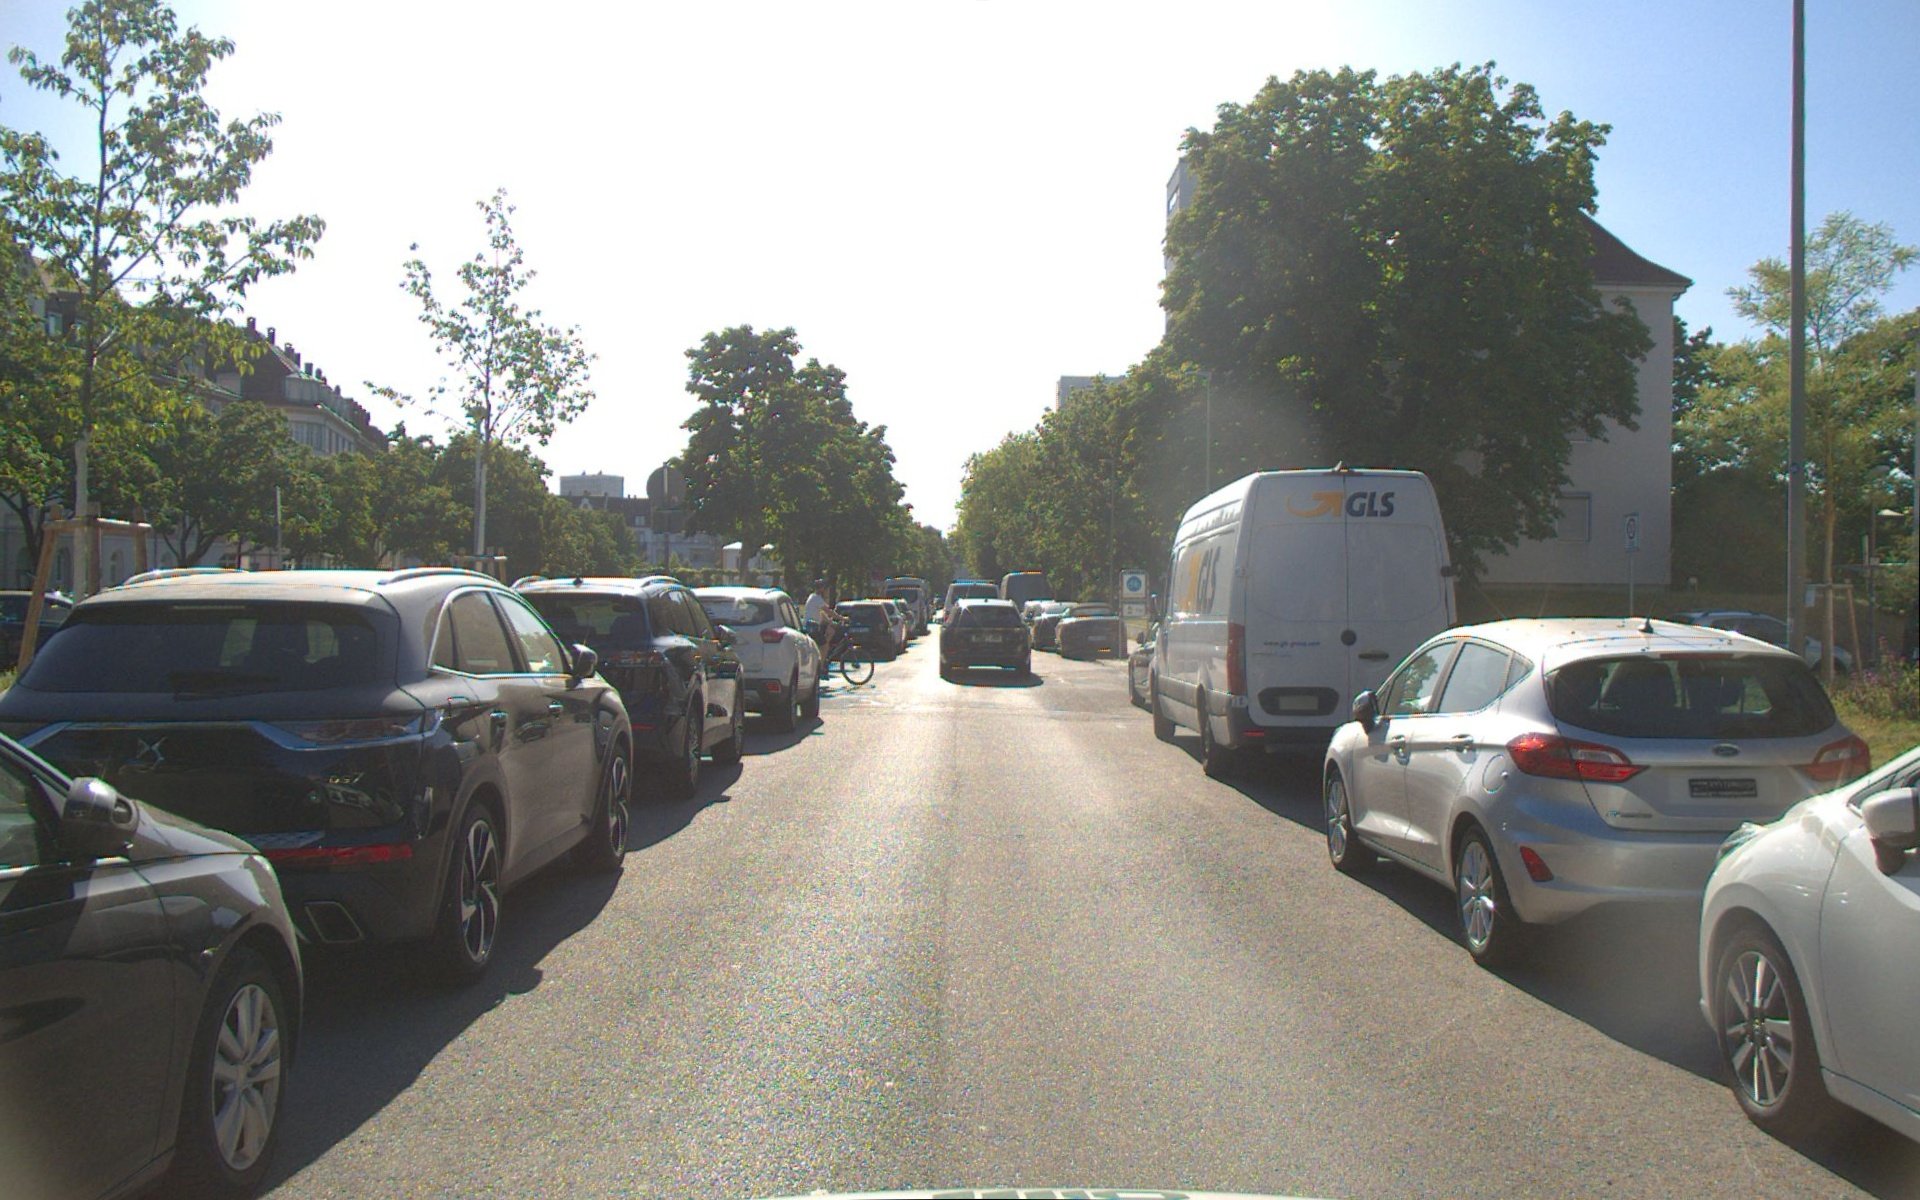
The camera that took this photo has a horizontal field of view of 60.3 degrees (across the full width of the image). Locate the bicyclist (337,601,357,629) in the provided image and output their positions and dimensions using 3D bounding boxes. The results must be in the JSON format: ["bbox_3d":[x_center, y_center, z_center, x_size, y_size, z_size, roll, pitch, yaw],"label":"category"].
[{"bbox_3d":[-32.535,0.777,87.746,0.723,1.463,0.942,0,-1,-1],"label":"bicyclist"}]

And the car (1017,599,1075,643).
[{"bbox_3d":[3.012,0.714,58.677,1.743,1.513,4.030,0,0,-1],"label":"car"}]

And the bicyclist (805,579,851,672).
[{"bbox_3d":[-2.331,0.440,29.253,0.773,1.624,0.696,0,0,-3],"label":"bicyclist"}]

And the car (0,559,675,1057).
[{"bbox_3d":[-2.685,0.697,7.934,1.782,1.638,4.738,-1,0,0],"label":"car"}]

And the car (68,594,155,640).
[{"bbox_3d":[-37.192,0.712,72.605,1.701,1.941,4.459,0,0,-3],"label":"car"}]

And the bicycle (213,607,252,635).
[{"bbox_3d":[-33.569,0.975,76.387,0.794,1.274,2.632,1,-1,-4],"label":"bicycle"}]

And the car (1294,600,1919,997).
[{"bbox_3d":[3.122,0.782,8.564,1.811,1.491,4.201,1,0,-2],"label":"car"}]

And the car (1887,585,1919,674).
[{"bbox_3d":[20.987,0.584,32.773,4.193,1.761,1.869,0,0,-1],"label":"car"}]

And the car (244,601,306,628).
[{"bbox_3d":[-37.482,0.784,90.629,1.808,1.465,3.774,0,0,0],"label":"car"}]

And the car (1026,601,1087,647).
[{"bbox_3d":[3.010,0.731,52.303,1.743,1.395,4.127,0,0,1],"label":"car"}]

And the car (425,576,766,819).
[{"bbox_3d":[-2.847,0.682,14.021,1.805,1.667,4.715,-1,0,0],"label":"car"}]

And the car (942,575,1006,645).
[{"bbox_3d":[0.452,0.295,51.230,1.855,2.026,4.011,-1,0,1],"label":"car"}]

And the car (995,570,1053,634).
[{"bbox_3d":[2.803,0.085,73.848,2.120,2.736,5.413,0,0,-3],"label":"car"}]

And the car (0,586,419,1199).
[{"bbox_3d":[-2.583,0.776,2.904,1.835,1.546,4.469,-2,0,-1],"label":"car"}]

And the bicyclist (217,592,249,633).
[{"bbox_3d":[-33.568,0.590,76.370,0.923,1.869,1.448,0,-1,-6],"label":"bicyclist"}]

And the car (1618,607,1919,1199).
[{"bbox_3d":[3.276,0.782,3.879,1.839,1.501,4.140,0,0,0],"label":"car"}]

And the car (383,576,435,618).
[{"bbox_3d":[-37.695,-0.189,113.365,1.877,2.792,5.622,0,0,-3],"label":"car"}]

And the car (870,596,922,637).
[{"bbox_3d":[-2.469,0.617,64.844,1.795,1.526,4.127,0,0,1],"label":"car"}]

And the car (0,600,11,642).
[{"bbox_3d":[-37.113,0.801,61.006,1.721,1.576,4.526,0,0,-3],"label":"car"}]

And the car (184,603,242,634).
[{"bbox_3d":[-37.263,0.912,82.577,1.352,1.465,3.342,0,0,1],"label":"car"}]

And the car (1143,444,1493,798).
[{"bbox_3d":[3.218,0.160,16.535,2.098,2.760,6.842,-1,0,1],"label":"car"}]

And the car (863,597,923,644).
[{"bbox_3d":[-2.205,0.646,55.047,1.743,1.487,4.127,0,0,1],"label":"car"}]

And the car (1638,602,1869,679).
[{"bbox_3d":[15.621,0.779,32.656,3.810,1.454,1.657,0,0,-4],"label":"car"}]

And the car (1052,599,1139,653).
[{"bbox_3d":[3.743,0.693,46.351,2.081,1.361,4.506,-2,0,1],"label":"car"}]

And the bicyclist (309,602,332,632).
[{"bbox_3d":[-33.764,0.901,87.369,0.723,1.462,0.942,-5,-1,-1],"label":"bicyclist"}]

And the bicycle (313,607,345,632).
[{"bbox_3d":[-34.153,1.059,89.569,0.794,1.274,2.633,2,-1,-2],"label":"bicycle"}]

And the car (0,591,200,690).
[{"bbox_3d":[-14.534,0.620,26.444,4.278,1.433,1.906,0,2,-25],"label":"car"}]

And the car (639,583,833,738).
[{"bbox_3d":[-2.654,0.667,20.541,1.720,1.676,4.288,-1,0,1],"label":"car"}]

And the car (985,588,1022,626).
[{"bbox_3d":[2.707,0.407,103.585,2.119,2.333,5.265,0,0,-1],"label":"car"}]

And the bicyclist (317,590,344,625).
[{"bbox_3d":[-34.139,0.419,89.652,0.922,1.869,1.449,0,-1,-1],"label":"bicyclist"}]

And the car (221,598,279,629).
[{"bbox_3d":[-43.011,0.808,100.288,1.822,1.779,3.999,0,0,-1],"label":"car"}]

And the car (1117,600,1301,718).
[{"bbox_3d":[3.514,0.778,24.190,1.919,1.507,4.498,-1,0,-1],"label":"car"}]

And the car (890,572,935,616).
[{"bbox_3d":[-2.968,-0.362,105.178,2.562,2.691,6.115,0,0,1],"label":"car"}]

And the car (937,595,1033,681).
[{"bbox_3d":[0.505,0.697,32.682,1.743,1.558,4.001,1,0,1],"label":"car"}]

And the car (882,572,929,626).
[{"bbox_3d":[-2.599,-0.055,79.723,2.055,2.540,4.127,0,0,1],"label":"car"}]

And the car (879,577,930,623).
[{"bbox_3d":[-2.429,-0.011,73.312,2.055,1.976,4.126,0,0,0],"label":"car"}]

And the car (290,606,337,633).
[{"bbox_3d":[-37.168,1.113,95.146,1.487,1.465,3.230,0,0,-3],"label":"car"}]

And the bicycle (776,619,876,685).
[{"bbox_3d":[-2.360,0.915,29.248,1.725,1.147,0.662,0,-1,-3],"label":"bicycle"}]

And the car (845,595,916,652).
[{"bbox_3d":[-2.227,0.655,47.118,1.740,1.521,3.875,-2,-1,1],"label":"car"}]

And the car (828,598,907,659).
[{"bbox_3d":[-2.330,0.717,42.595,1.712,1.450,3.916,-2,-1,1],"label":"car"}]
